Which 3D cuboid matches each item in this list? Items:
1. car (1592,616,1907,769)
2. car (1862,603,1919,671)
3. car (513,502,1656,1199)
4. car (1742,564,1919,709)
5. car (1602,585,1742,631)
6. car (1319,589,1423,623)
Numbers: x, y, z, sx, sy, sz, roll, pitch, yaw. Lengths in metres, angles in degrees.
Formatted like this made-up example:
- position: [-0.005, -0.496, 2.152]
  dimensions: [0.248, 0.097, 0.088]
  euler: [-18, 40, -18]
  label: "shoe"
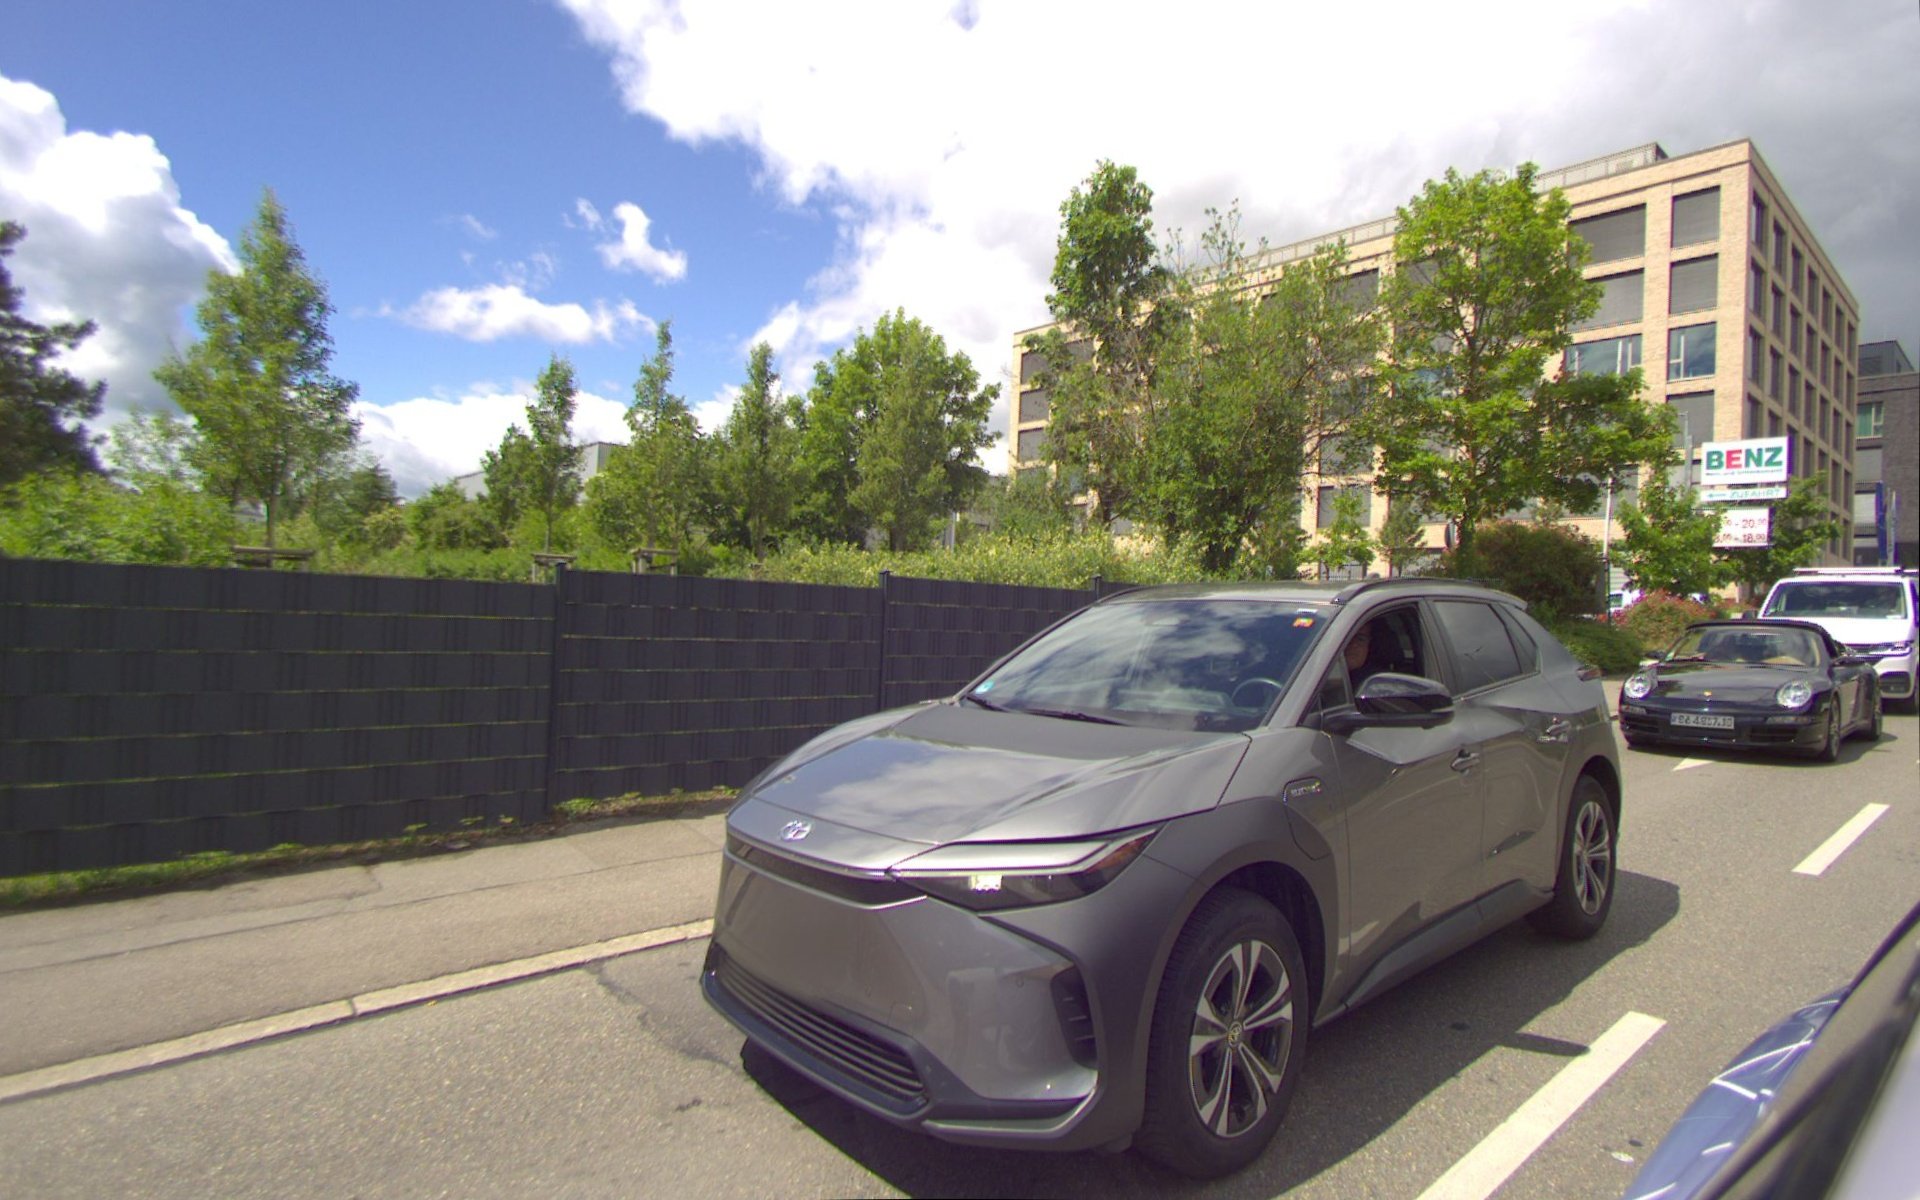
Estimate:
- position: [8.627, 0.835, 10.914]
  dimensions: [4.487, 1.290, 1.776]
  euler: [0, -1, -40]
  label: "car"
- position: [20.948, 0.760, 21.558]
  dimensions: [4.484, 1.290, 1.778]
  euler: [0, 2, -38]
  label: "car"
- position: [0.931, 0.662, 4.011]
  dimensions: [4.601, 1.634, 1.922]
  euler: [0, -1, -41]
  label: "car"
- position: [13.526, 0.488, 15.190]
  dimensions: [4.563, 1.874, 1.962]
  euler: [0, -1, -41]
  label: "car"
- position: [27.511, 0.257, 39.192]
  dimensions: [1.707, 1.596, 4.211]
  euler: [1, 1, -44]
  label: "car"
- position: [19.380, 0.263, 47.849]
  dimensions: [1.705, 1.436, 4.215]
  euler: [1, 1, -41]
  label: "car"
